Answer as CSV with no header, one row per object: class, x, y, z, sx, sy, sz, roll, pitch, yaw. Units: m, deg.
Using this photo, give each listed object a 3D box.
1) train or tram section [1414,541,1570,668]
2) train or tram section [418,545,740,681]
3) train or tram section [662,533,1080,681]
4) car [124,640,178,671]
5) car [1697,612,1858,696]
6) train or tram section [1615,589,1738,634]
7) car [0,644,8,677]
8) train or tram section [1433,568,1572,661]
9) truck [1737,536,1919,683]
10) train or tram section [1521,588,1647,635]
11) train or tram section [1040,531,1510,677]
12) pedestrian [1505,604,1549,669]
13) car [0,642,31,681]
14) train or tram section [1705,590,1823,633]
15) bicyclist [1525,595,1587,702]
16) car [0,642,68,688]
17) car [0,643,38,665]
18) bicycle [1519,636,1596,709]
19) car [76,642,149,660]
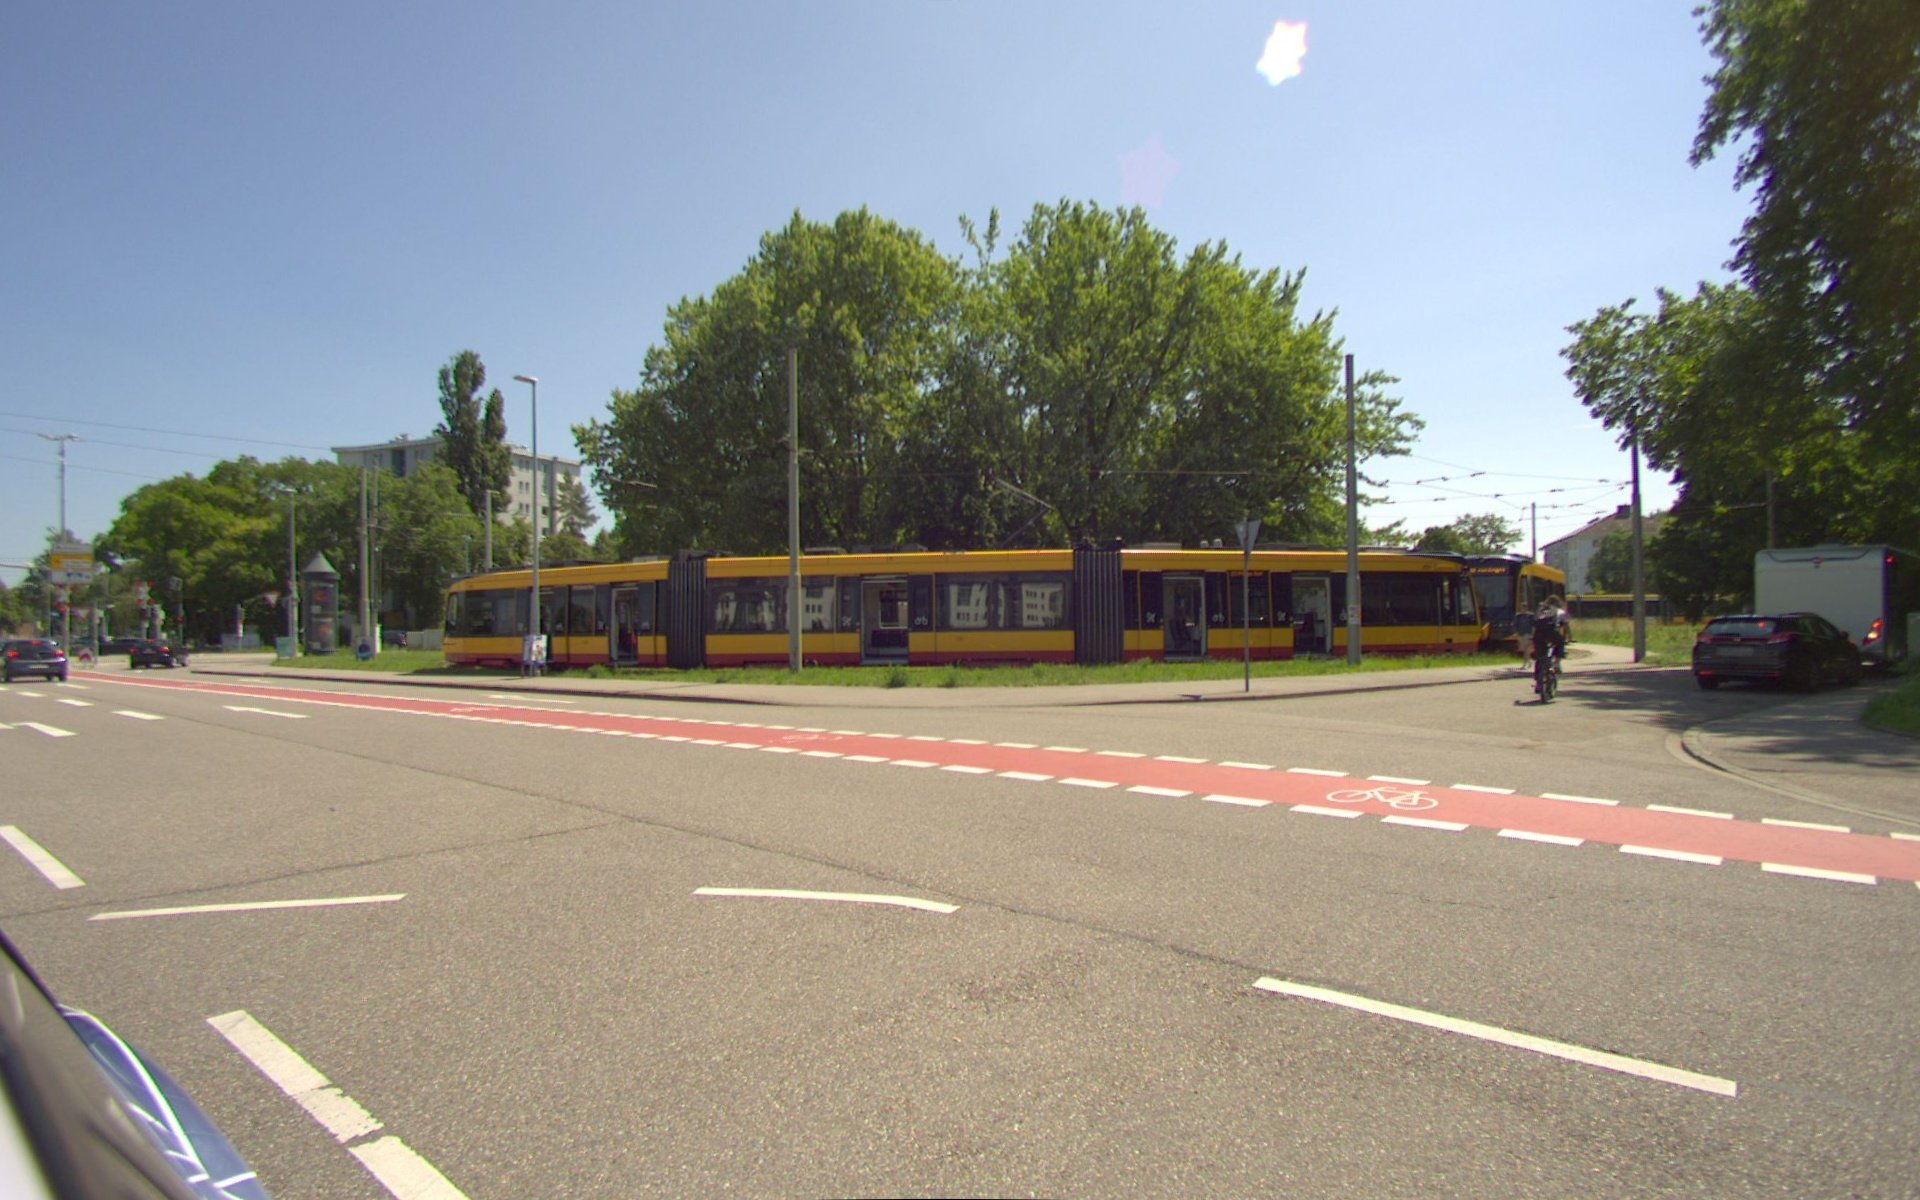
train or tram section,19.646,0.412,36.683,3.019,3.788,14.021,-3,-3,35
train or tram section,-12.828,0.650,33.123,12.959,3.788,2.991,-3,-3,34
train or tram section,-2.418,0.315,28.770,11.483,3.788,3.018,-1,-3,9
car,-39.851,2.747,49.934,1.720,1.416,4.452,1,-3,-34
car,15.584,0.945,19.213,4.246,1.428,1.669,1,-1,-41
train or tram section,71.330,1.214,100.713,12.530,4.287,3.035,0,-3,-19
car,-45.086,2.767,46.341,4.410,1.467,1.772,-2,-3,41
train or tram section,25.550,0.944,48.620,3.000,3.788,14.114,-2,-3,17
truck,20.641,0.198,23.497,7.226,2.932,2.572,0,-1,-40
train or tram section,59.510,1.154,96.426,12.529,4.287,3.035,0,-3,-21
train or tram section,9.365,0.191,29.701,13.807,3.788,3.035,0,-3,-17
pedestrian,15.310,0.986,27.305,0.854,1.723,0.799,-3,-2,38
car,-38.420,2.423,40.133,4.281,1.468,1.742,-3,-2,40
train or tram section,83.212,1.240,104.680,12.530,4.287,3.035,0,-3,-18
bicyclist,9.929,0.802,16.857,0.667,1.719,0.758,-3,-1,43
car,-31.757,2.169,34.423,3.499,1.467,1.605,-2,-3,40
car,-65.594,3.703,68.484,4.336,1.399,1.881,-1,-3,-19
bicycle,9.967,1.177,16.858,0.671,1.063,2.016,-3,-1,42
car,-66.217,3.995,79.146,3.931,1.296,1.892,-1,-4,-21
